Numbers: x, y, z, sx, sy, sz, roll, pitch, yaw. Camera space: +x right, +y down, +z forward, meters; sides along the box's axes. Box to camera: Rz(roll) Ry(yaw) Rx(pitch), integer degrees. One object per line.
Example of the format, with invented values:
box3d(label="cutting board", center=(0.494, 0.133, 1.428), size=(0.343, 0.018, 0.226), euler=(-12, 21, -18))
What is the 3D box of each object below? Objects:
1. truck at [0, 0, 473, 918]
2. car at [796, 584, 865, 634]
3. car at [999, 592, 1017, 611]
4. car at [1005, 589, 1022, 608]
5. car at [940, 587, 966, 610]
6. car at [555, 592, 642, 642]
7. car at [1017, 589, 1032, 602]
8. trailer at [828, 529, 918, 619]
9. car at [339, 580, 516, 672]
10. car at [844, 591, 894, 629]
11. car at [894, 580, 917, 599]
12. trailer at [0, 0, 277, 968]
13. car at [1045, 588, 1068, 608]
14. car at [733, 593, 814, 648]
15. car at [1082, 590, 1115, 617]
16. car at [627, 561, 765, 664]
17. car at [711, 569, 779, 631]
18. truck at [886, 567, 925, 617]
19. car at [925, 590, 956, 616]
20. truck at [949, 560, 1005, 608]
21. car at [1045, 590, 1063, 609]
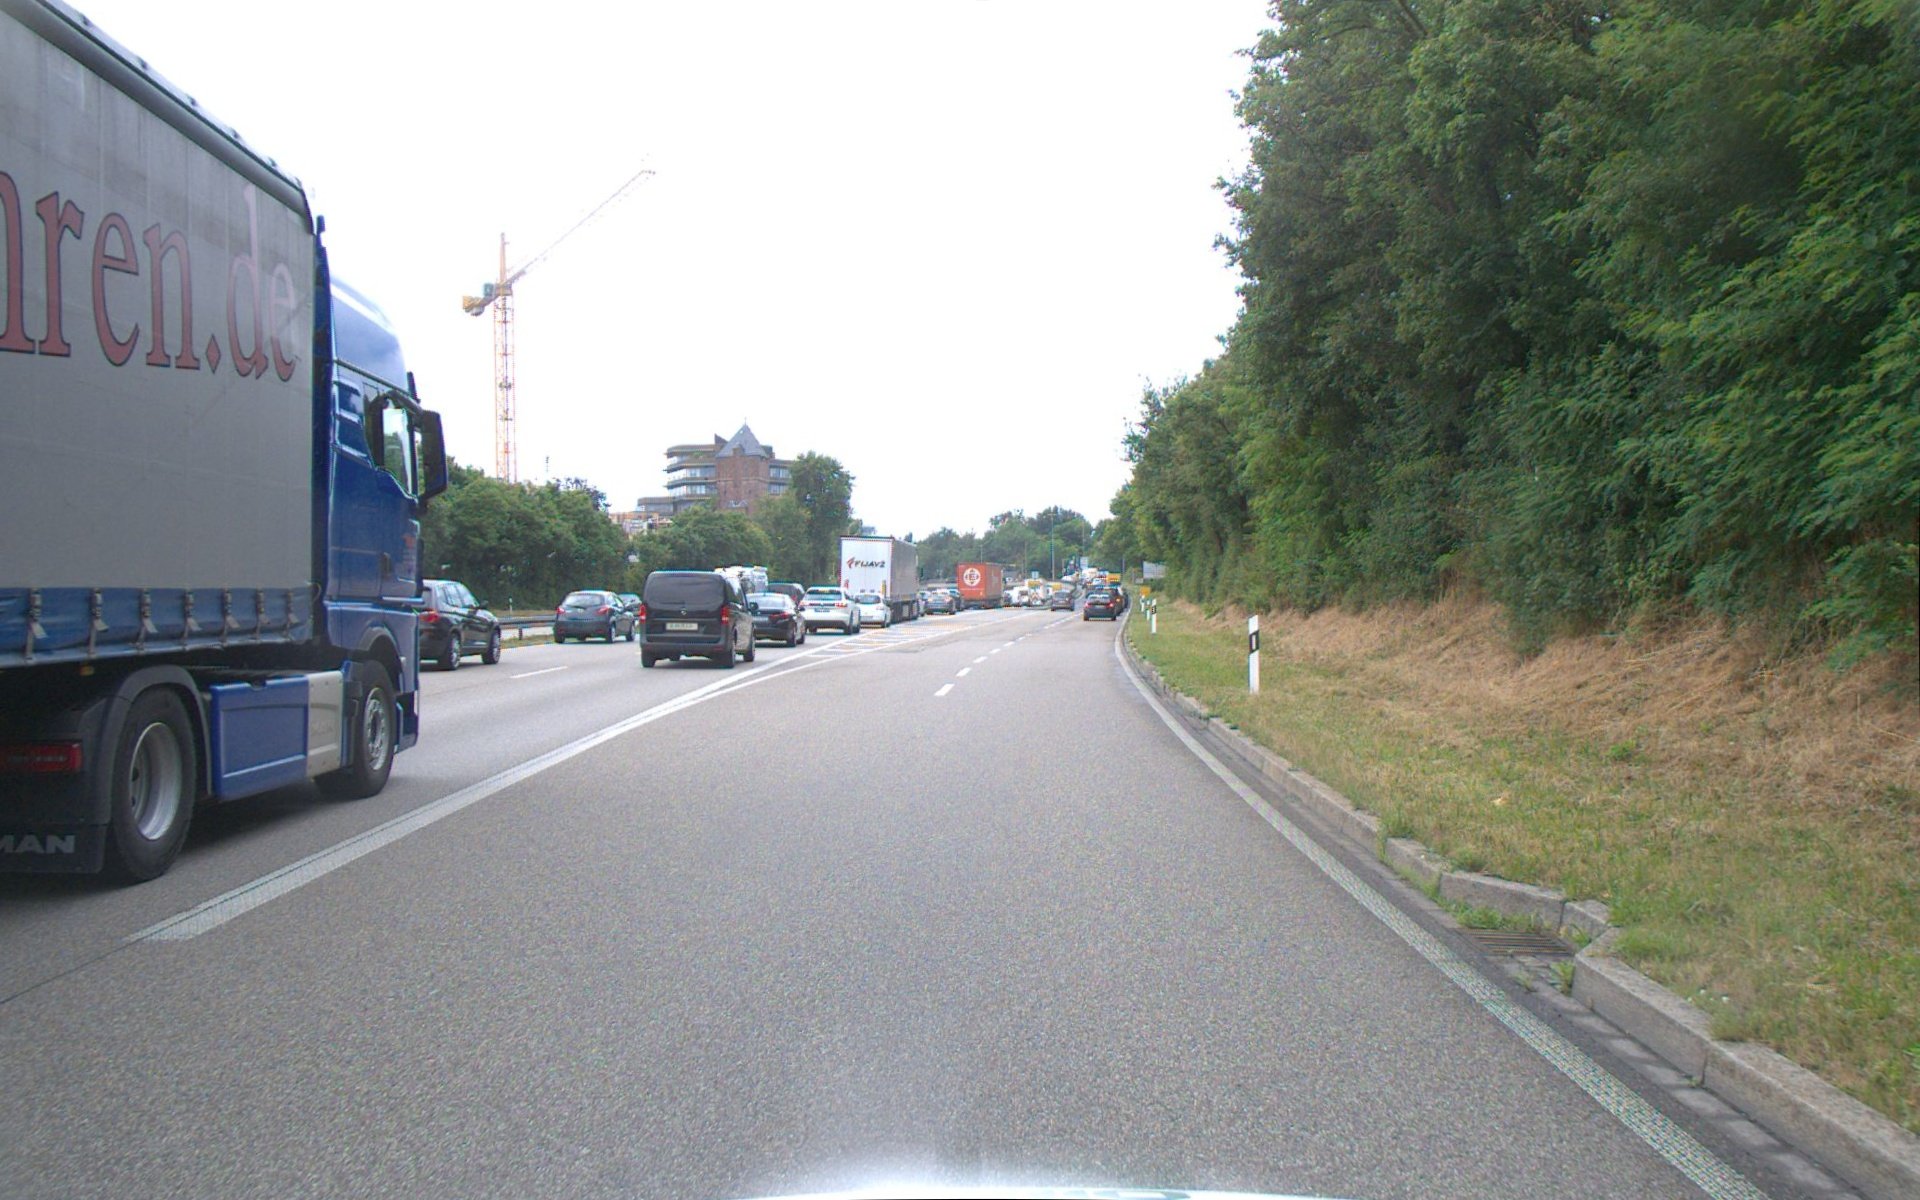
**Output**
box3d(label="truck", center=(-5.249, -0.665, 10.490), size=(2.509, 4.113, 6.586), euler=(1, 0, -2))
box3d(label="car", center=(-4.713, 0.329, 60.684), size=(1.915, 1.724, 4.867), euler=(1, 0, 2))
box3d(label="car", center=(5.063, 0.162, 173.644), size=(1.580, 1.982, 3.708), euler=(1, 0, 7))
box3d(label="car", center=(6.012, -0.153, 185.050), size=(1.580, 1.982, 3.707), euler=(1, 0, 5))
box3d(label="car", center=(-0.543, -0.113, 129.043), size=(1.681, 1.713, 4.002), euler=(1, 0, 4))
box3d(label="car", center=(-10.517, 0.469, 48.347), size=(1.640, 1.413, 4.000), euler=(0, 0, 0))
box3d(label="car", center=(7.857, -0.536, 202.598), size=(1.740, 1.508, 4.001), euler=(-1, 0, 2))
box3d(label="trailer", center=(-4.192, -1.168, 82.922), size=(3.230, 4.107, 13.101), euler=(1, 0, 2))
box3d(label="car", center=(-10.222, 0.457, 32.132), size=(1.822, 1.641, 4.652), euler=(0, 0, 2))
box3d(label="car", center=(-3.900, 0.414, 71.382), size=(1.727, 1.504, 4.090), euler=(2, 0, 2))
box3d(label="car", center=(-5.950, -1.148, 180.244), size=(1.951, 2.049, 4.003), euler=(0, 0, 6))
box3d(label="trailer", center=(-4.901, -0.623, 2.592), size=(2.574, 4.093, 13.456), euler=(1, 0, -3))
box3d(label="car", center=(7.700, -0.171, 131.675), size=(1.787, 1.508, 4.002), euler=(-1, 0, 3))
box3d(label="car", center=(-5.274, 0.574, 47.328), size=(1.809, 1.485, 4.830), euler=(1, 0, -1))
box3d(label="car", center=(7.847, 0.179, 93.347), size=(1.786, 1.508, 4.003), euler=(-1, 0, 6))
box3d(label="car", center=(-5.385, 0.253, 34.419), size=(1.947, 1.931, 4.985), euler=(2, 0, 1))
box3d(label="car", center=(-9.341, -0.010, 72.173), size=(1.952, 2.598, 5.364), euler=(0, 0, 3))
box3d(label="truck", center=(-4.674, -0.633, 144.350), size=(2.681, 4.211, 10.699), euler=(1, 0, 2))
box3d(label="car", center=(-1.308, 0.215, 111.465), size=(1.681, 1.713, 4.002), euler=(1, 0, 4))
box3d(label="truck", center=(1.654, -1.431, 149.892), size=(3.415, 4.144, 13.602), euler=(-1, 0, 7))
box3d(label="car", center=(10.145, -0.100, 178.848), size=(1.910, 2.049, 4.002), euler=(0, 0, 3))
